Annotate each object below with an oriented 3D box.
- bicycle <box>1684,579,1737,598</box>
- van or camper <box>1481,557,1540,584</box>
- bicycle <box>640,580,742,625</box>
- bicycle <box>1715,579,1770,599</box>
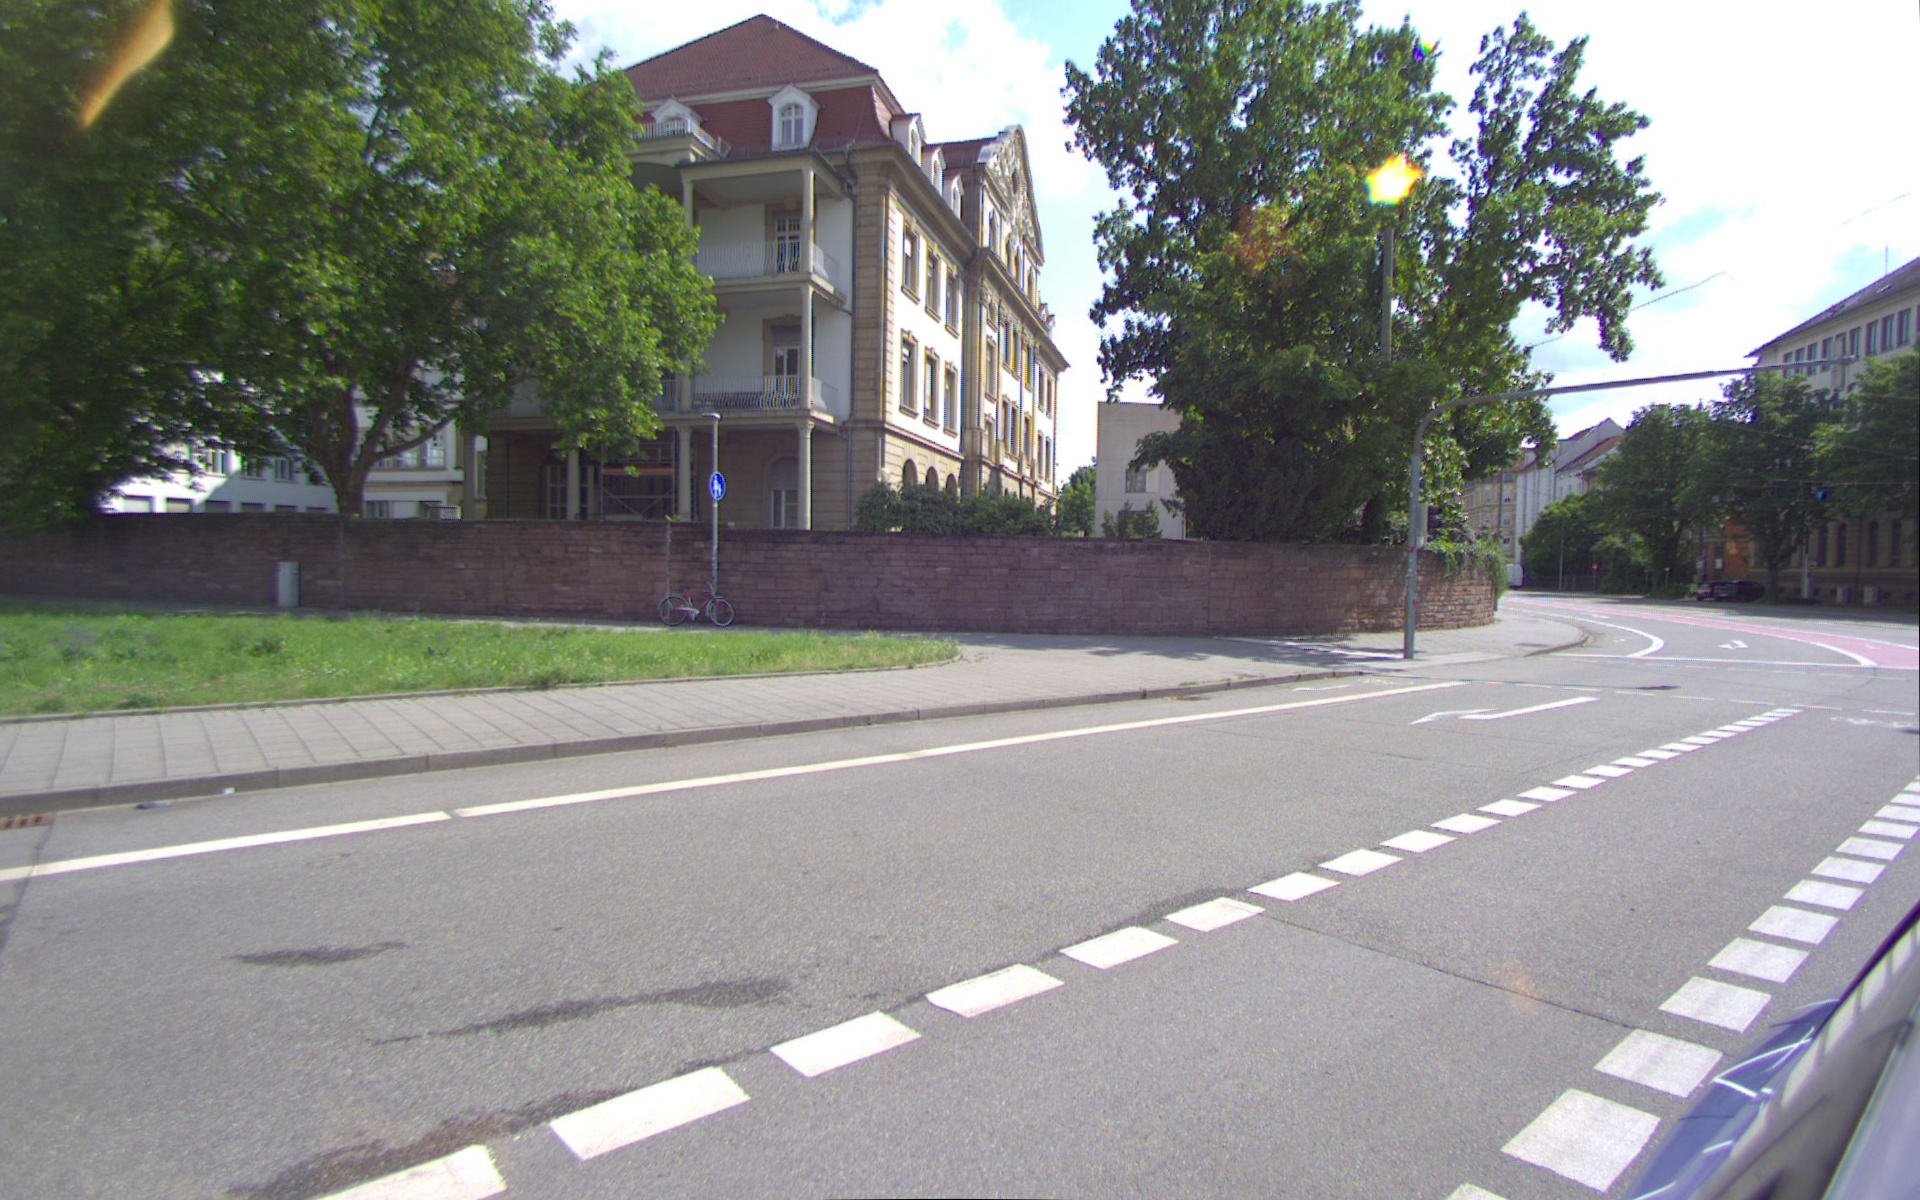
[{"bbox_3d":[55.165,-0.850,74.427,1.052,1.221,2.898,-4,4,-32],"label":"bicycle"},{"bbox_3d":[57.673,-3.104,106.194,2.923,2.634,6.752,2,2,5],"label":"van or camper"},{"bbox_3d":[-5.942,0.041,22.436,2.023,0.871,0.858,2,4,4],"label":"bicycle"},{"bbox_3d":[54.984,-0.800,71.164,1.030,1.221,2.898,-4,4,-32],"label":"bicycle"}]
